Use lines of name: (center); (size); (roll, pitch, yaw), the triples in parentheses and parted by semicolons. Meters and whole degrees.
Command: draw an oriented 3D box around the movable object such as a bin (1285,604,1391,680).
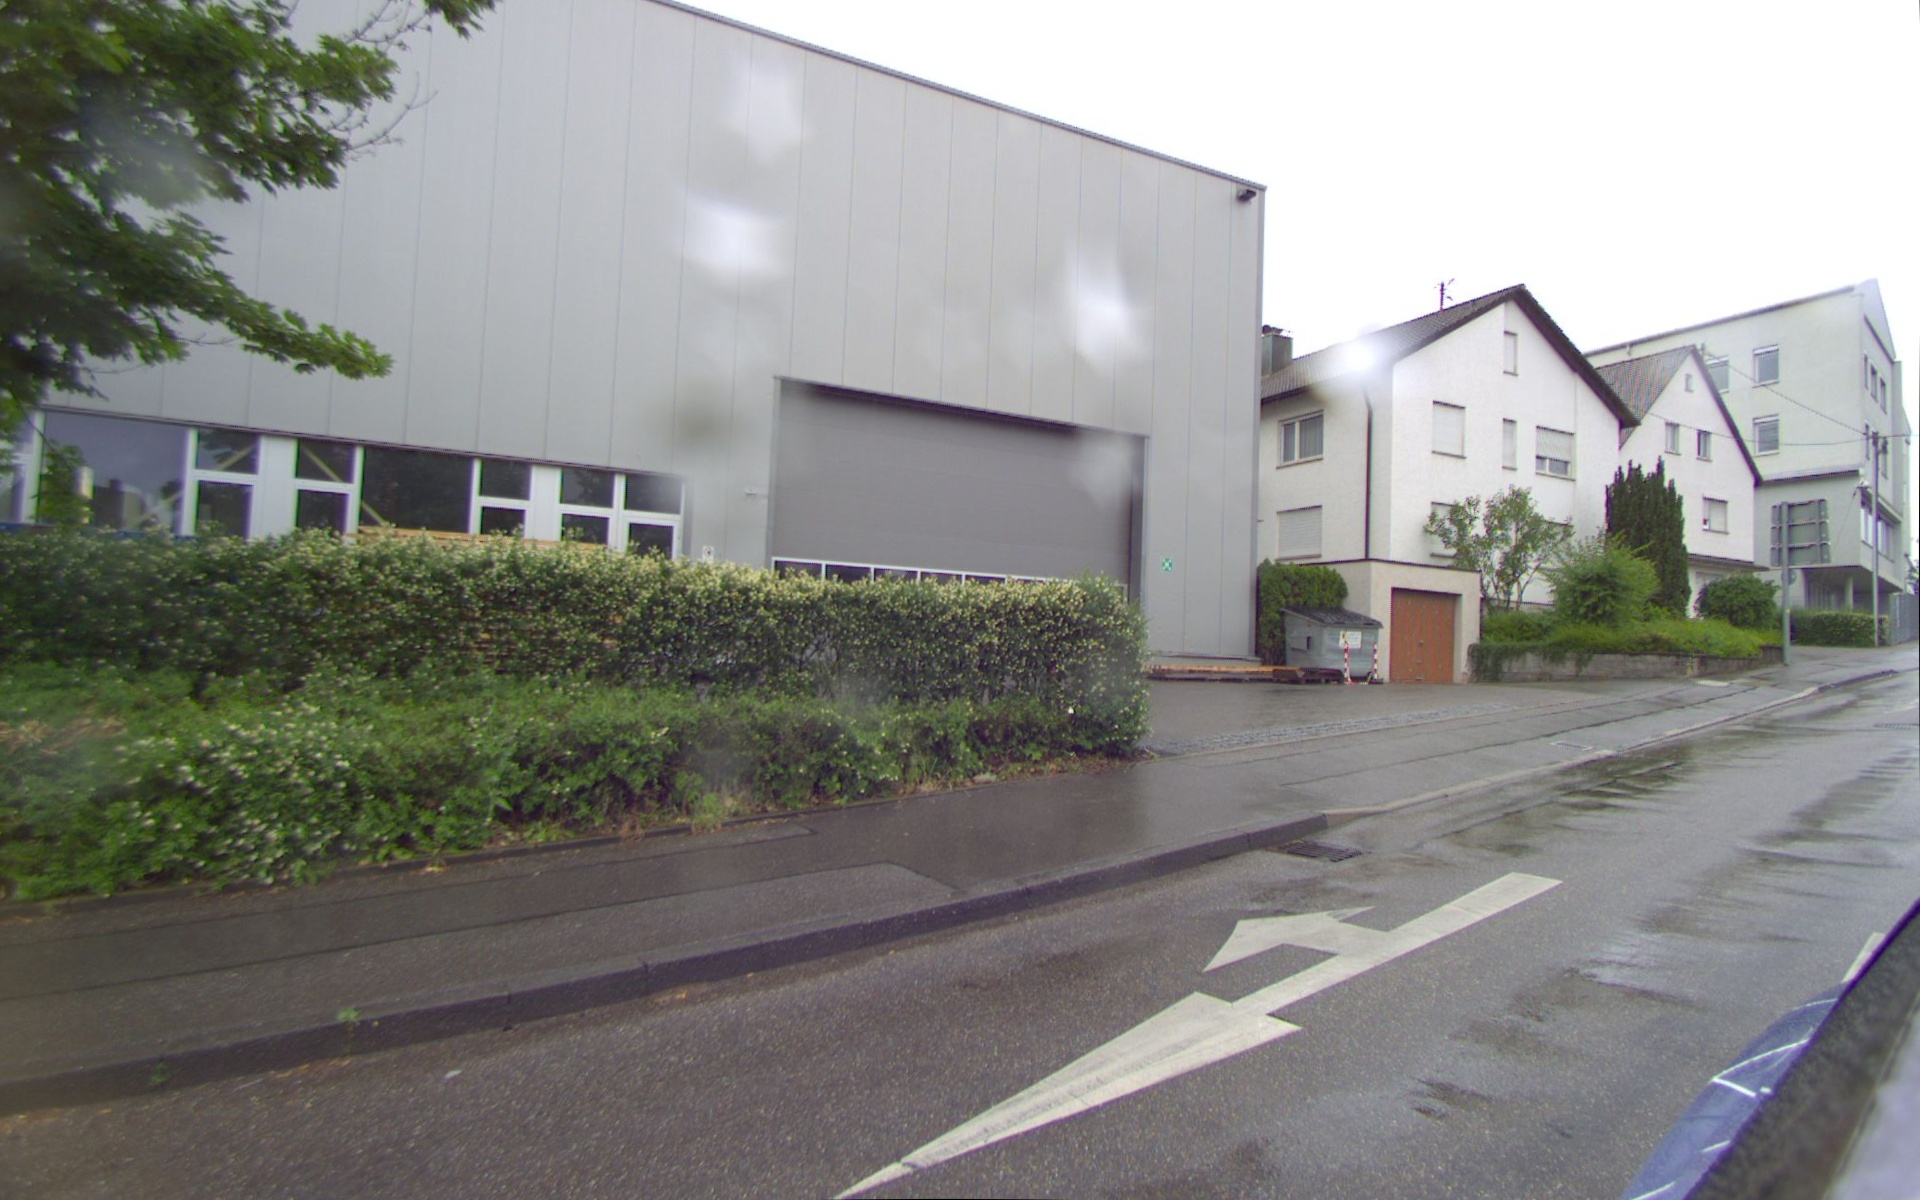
movable object such as a bin: (8.132, 0.883, 21.819); (1.742, 1.537, 1.268); (1, 0, -25)
